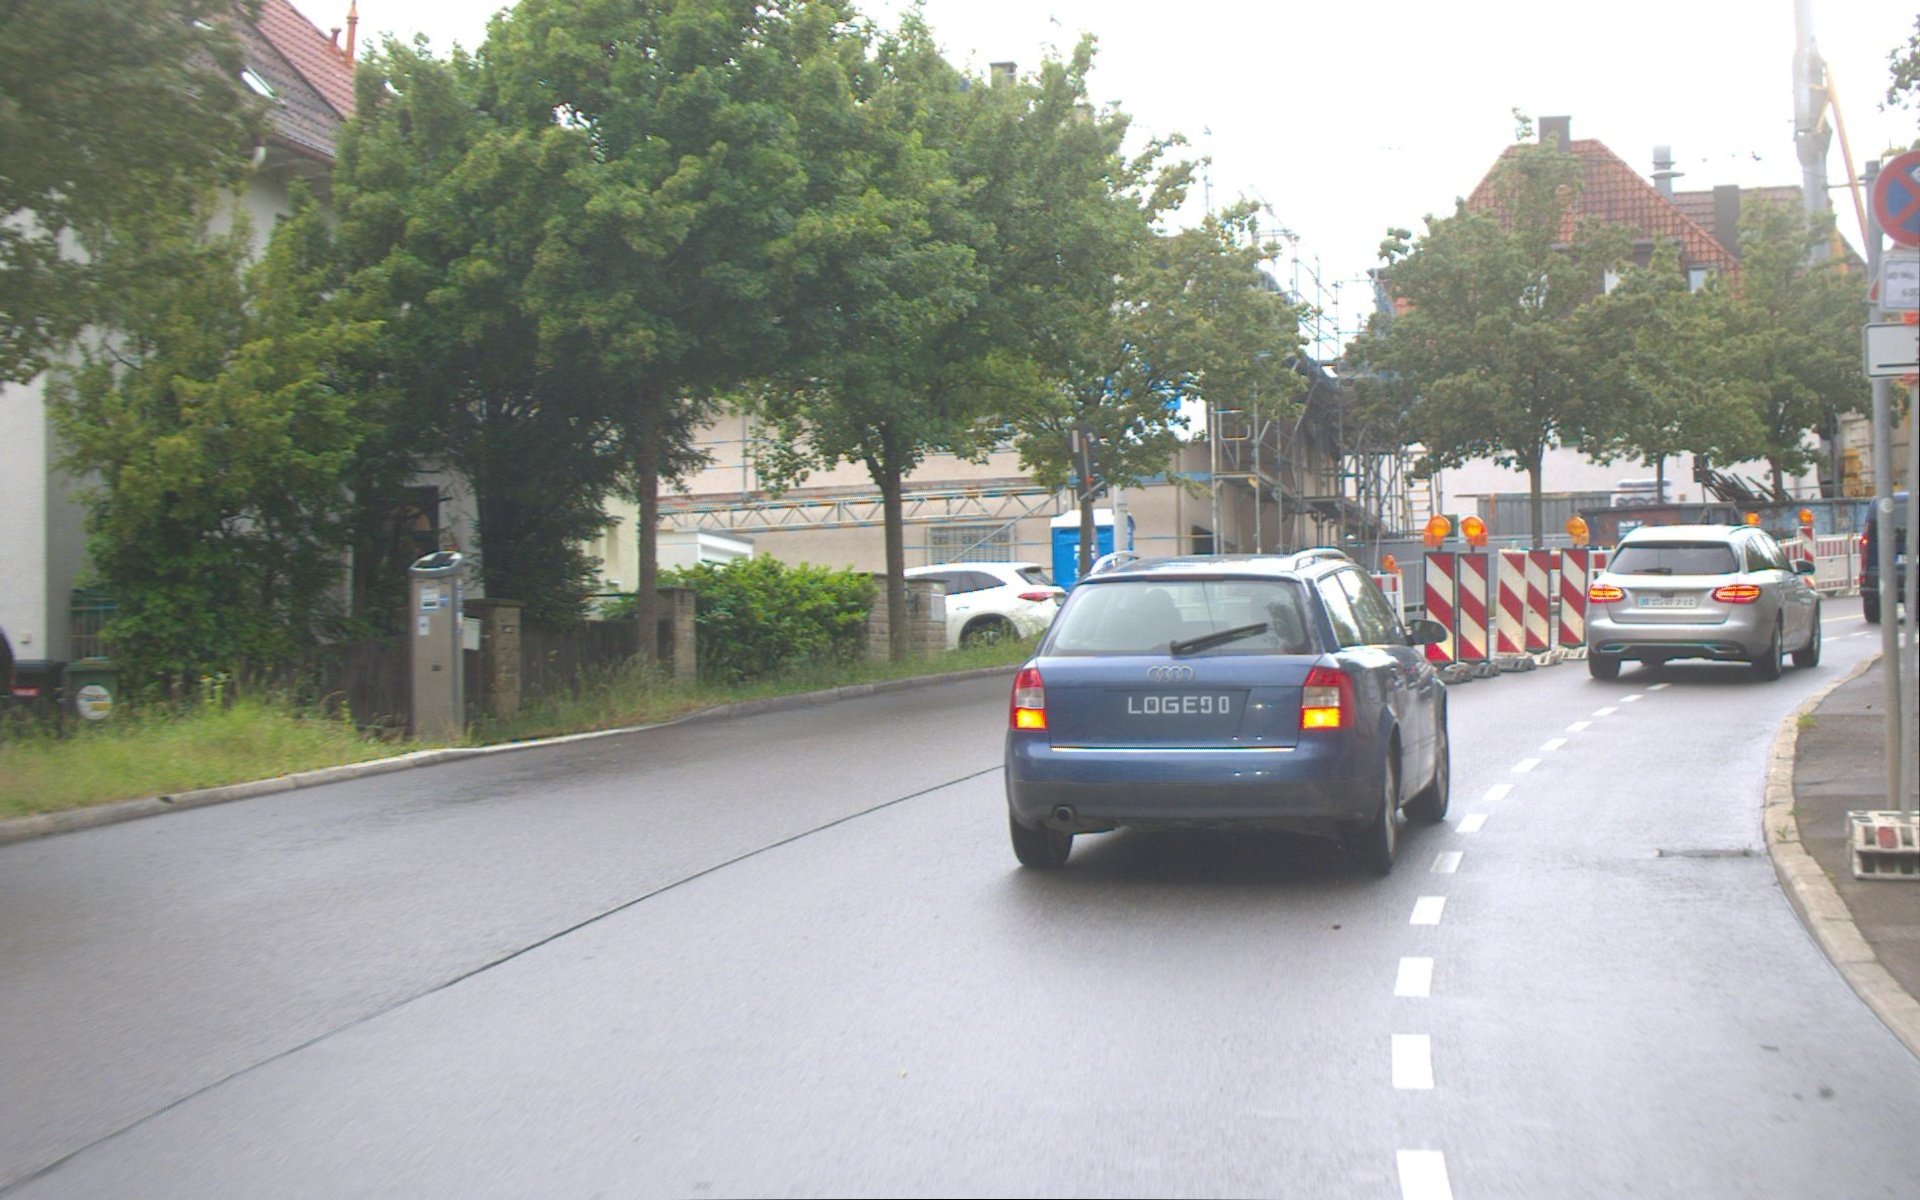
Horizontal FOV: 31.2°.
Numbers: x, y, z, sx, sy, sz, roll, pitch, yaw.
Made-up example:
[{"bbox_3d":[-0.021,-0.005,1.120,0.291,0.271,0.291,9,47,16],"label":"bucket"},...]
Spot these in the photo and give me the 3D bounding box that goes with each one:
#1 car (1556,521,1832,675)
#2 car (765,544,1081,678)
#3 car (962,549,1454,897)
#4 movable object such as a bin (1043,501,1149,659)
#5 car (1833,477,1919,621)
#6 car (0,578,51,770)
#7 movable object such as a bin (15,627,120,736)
[{"bbox_3d":[7.233,-0.056,33.555,1.911,1.383,4.346,-1,1,22],"label":"car"},{"bbox_3d":[-0.534,0.165,50.991,4.199,1.599,1.949,-5,-1,16],"label":"car"},{"bbox_3d":[1.321,0.484,16.582,1.778,1.434,3.998,1,1,13],"label":"car"},{"bbox_3d":[2.228,-0.332,56.152,1.313,2.497,1.385,-2,1,17],"label":"movable object such as a bin"},{"bbox_3d":[13.914,-0.794,48.821,1.733,1.888,4.049,-5,0,31],"label":"car"},{"bbox_3d":[-9.753,0.551,28.316,3.943,1.537,1.862,2,2,14],"label":"car"},{"bbox_3d":[-7.751,0.702,29.867,0.669,0.918,0.591,0,1,14],"label":"movable object such as a bin"}]
